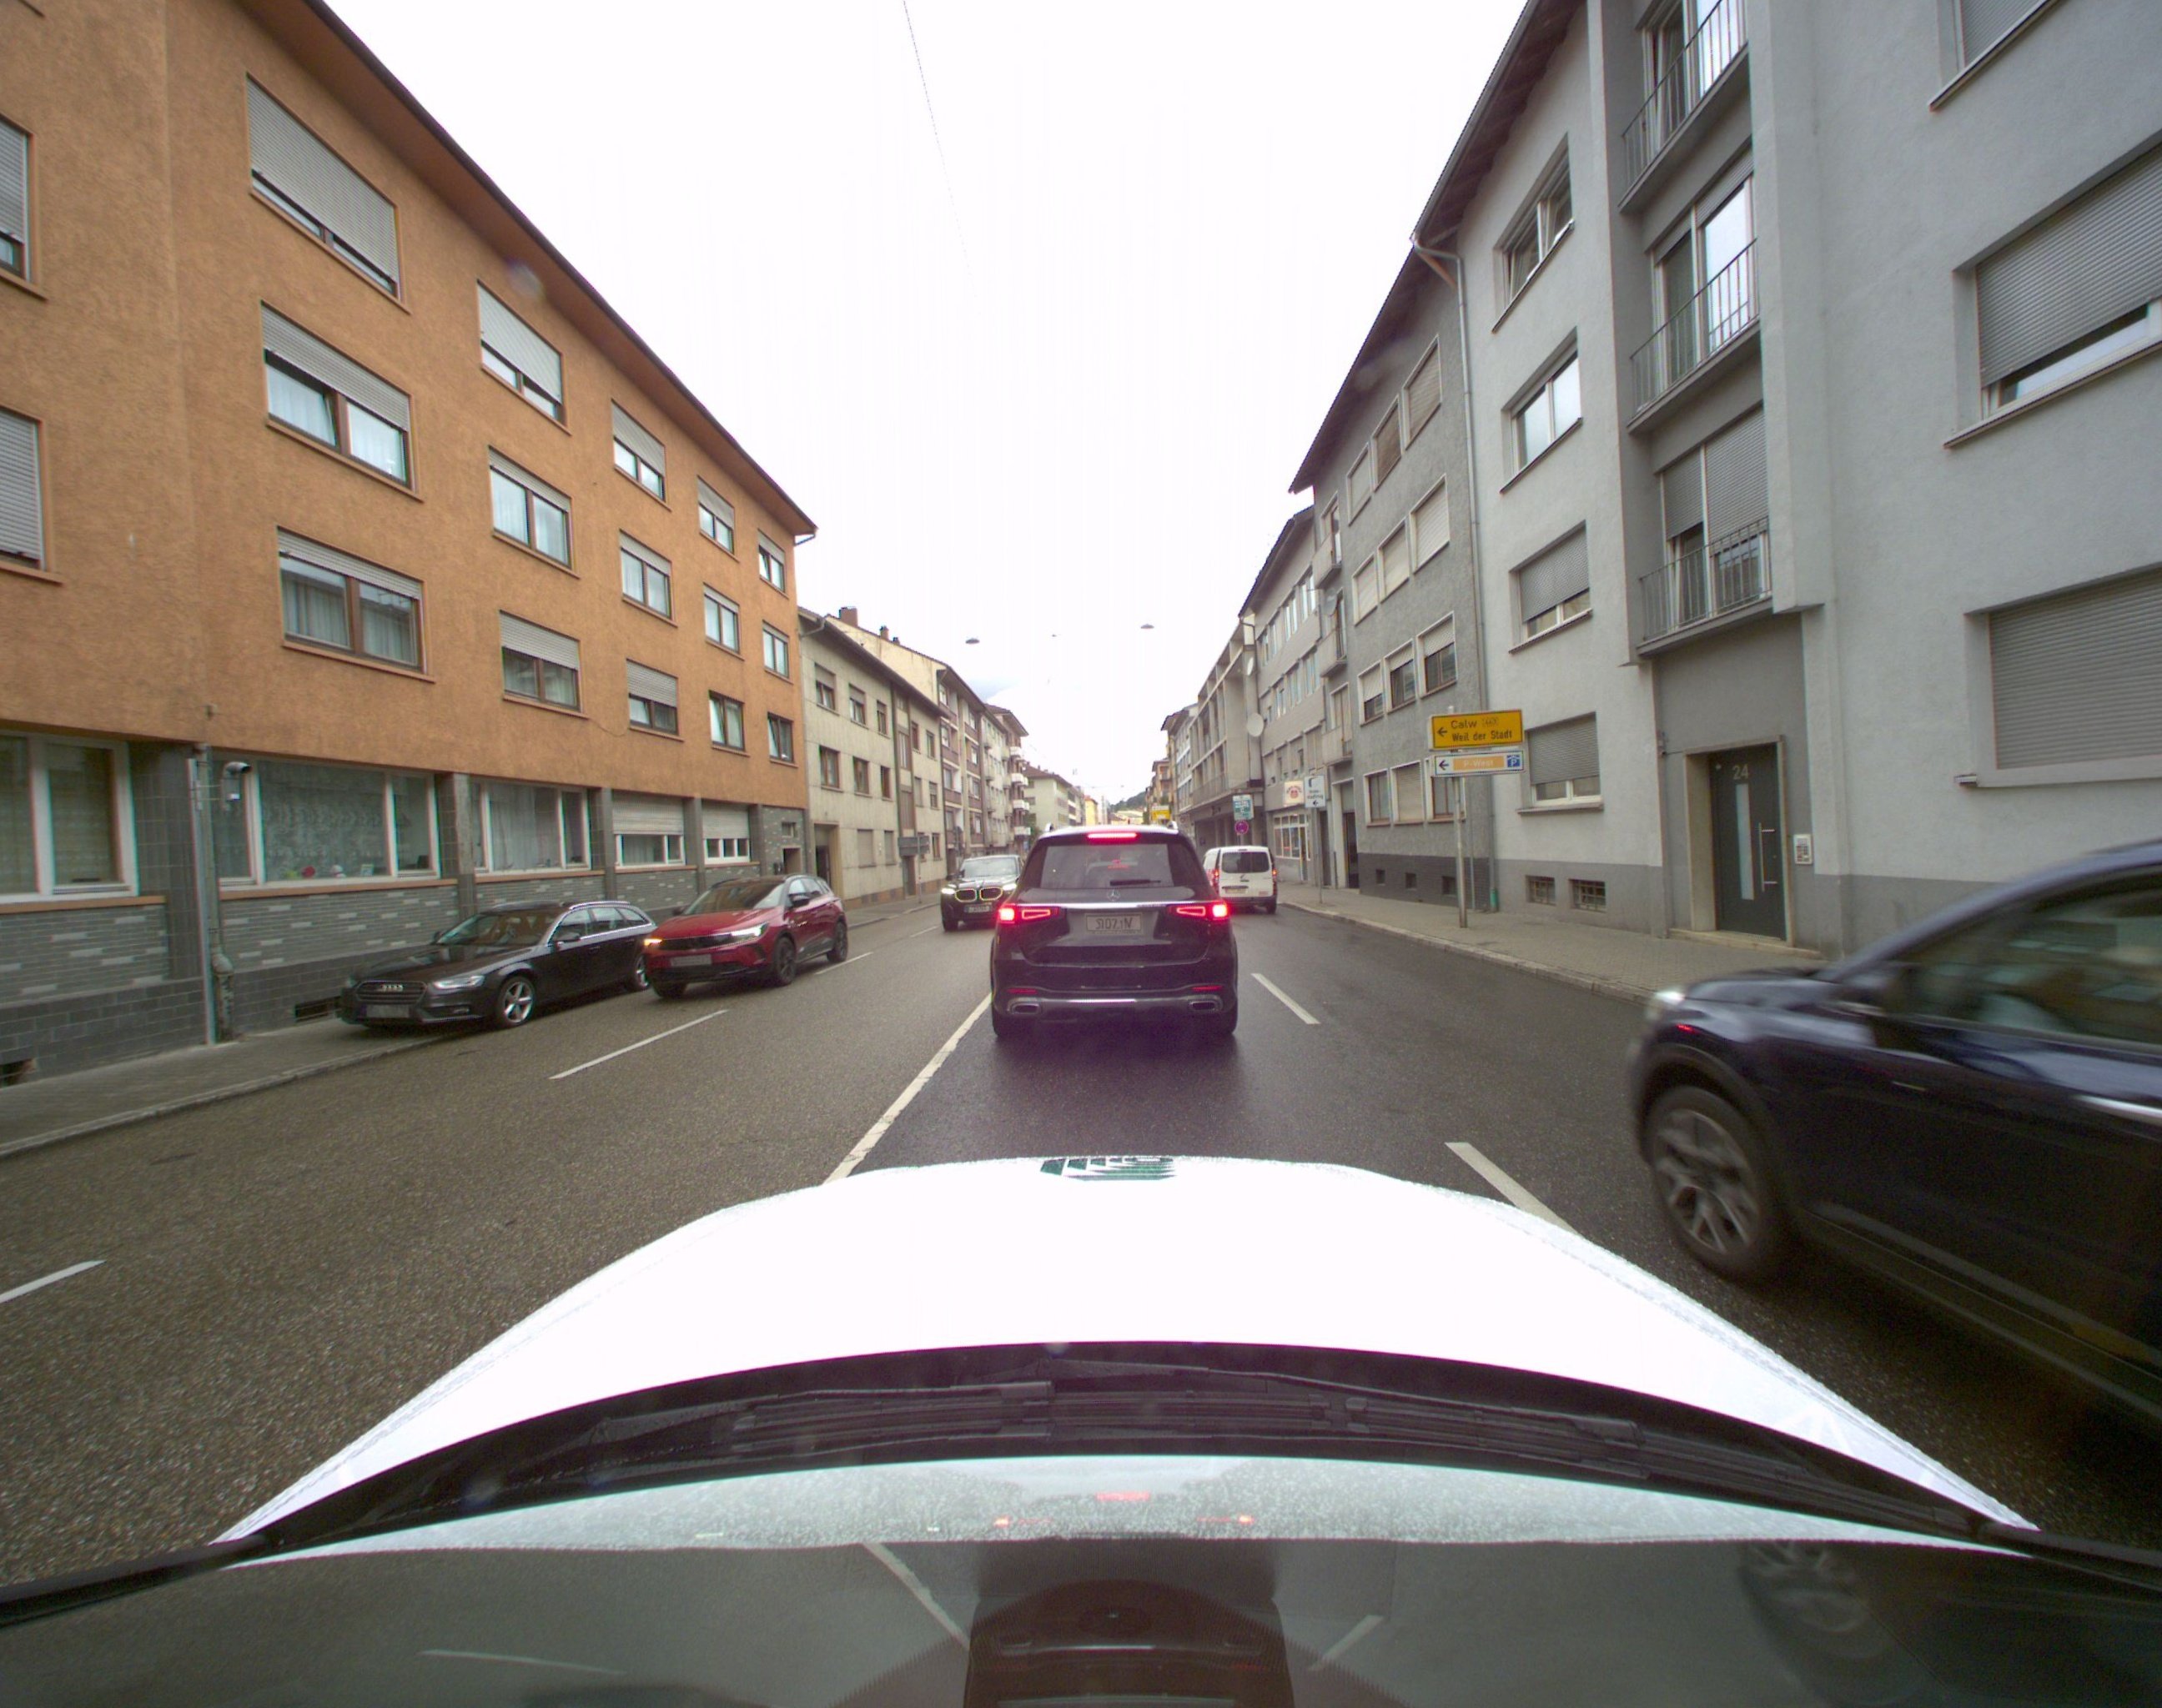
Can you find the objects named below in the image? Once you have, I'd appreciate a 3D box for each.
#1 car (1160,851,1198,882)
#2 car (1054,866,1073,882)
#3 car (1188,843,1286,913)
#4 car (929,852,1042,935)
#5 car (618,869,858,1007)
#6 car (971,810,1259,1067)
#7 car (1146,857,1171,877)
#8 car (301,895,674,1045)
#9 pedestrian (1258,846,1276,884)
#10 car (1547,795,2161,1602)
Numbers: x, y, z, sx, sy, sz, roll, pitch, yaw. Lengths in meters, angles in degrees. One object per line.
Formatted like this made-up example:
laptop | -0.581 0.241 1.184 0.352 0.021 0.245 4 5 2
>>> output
car | 5.368 0.645 44.898 1.800 1.606 4.216 -1 0 4
car | -1.753 1.997 82.459 1.762 1.346 3.888 -6 0 0
car | 4.340 0.616 23.359 1.934 1.775 4.746 -1 0 1
car | -2.313 0.912 21.065 2.119 1.721 4.819 -5 0 1
car | -5.055 1.134 12.757 1.791 1.584 4.316 -5 0 0
car | 0.284 0.600 7.746 2.018 1.806 4.001 0 0 1
car | 5.952 0.979 62.997 1.615 1.430 4.313 0 0 1
car | -7.741 1.411 11.332 1.789 1.438 4.528 0 0 1
pedestrian | 8.072 0.462 35.353 0.558 1.578 0.526 -5 0 3
car | 2.978 0.649 1.723 1.760 1.580 4.002 -2 0 2
